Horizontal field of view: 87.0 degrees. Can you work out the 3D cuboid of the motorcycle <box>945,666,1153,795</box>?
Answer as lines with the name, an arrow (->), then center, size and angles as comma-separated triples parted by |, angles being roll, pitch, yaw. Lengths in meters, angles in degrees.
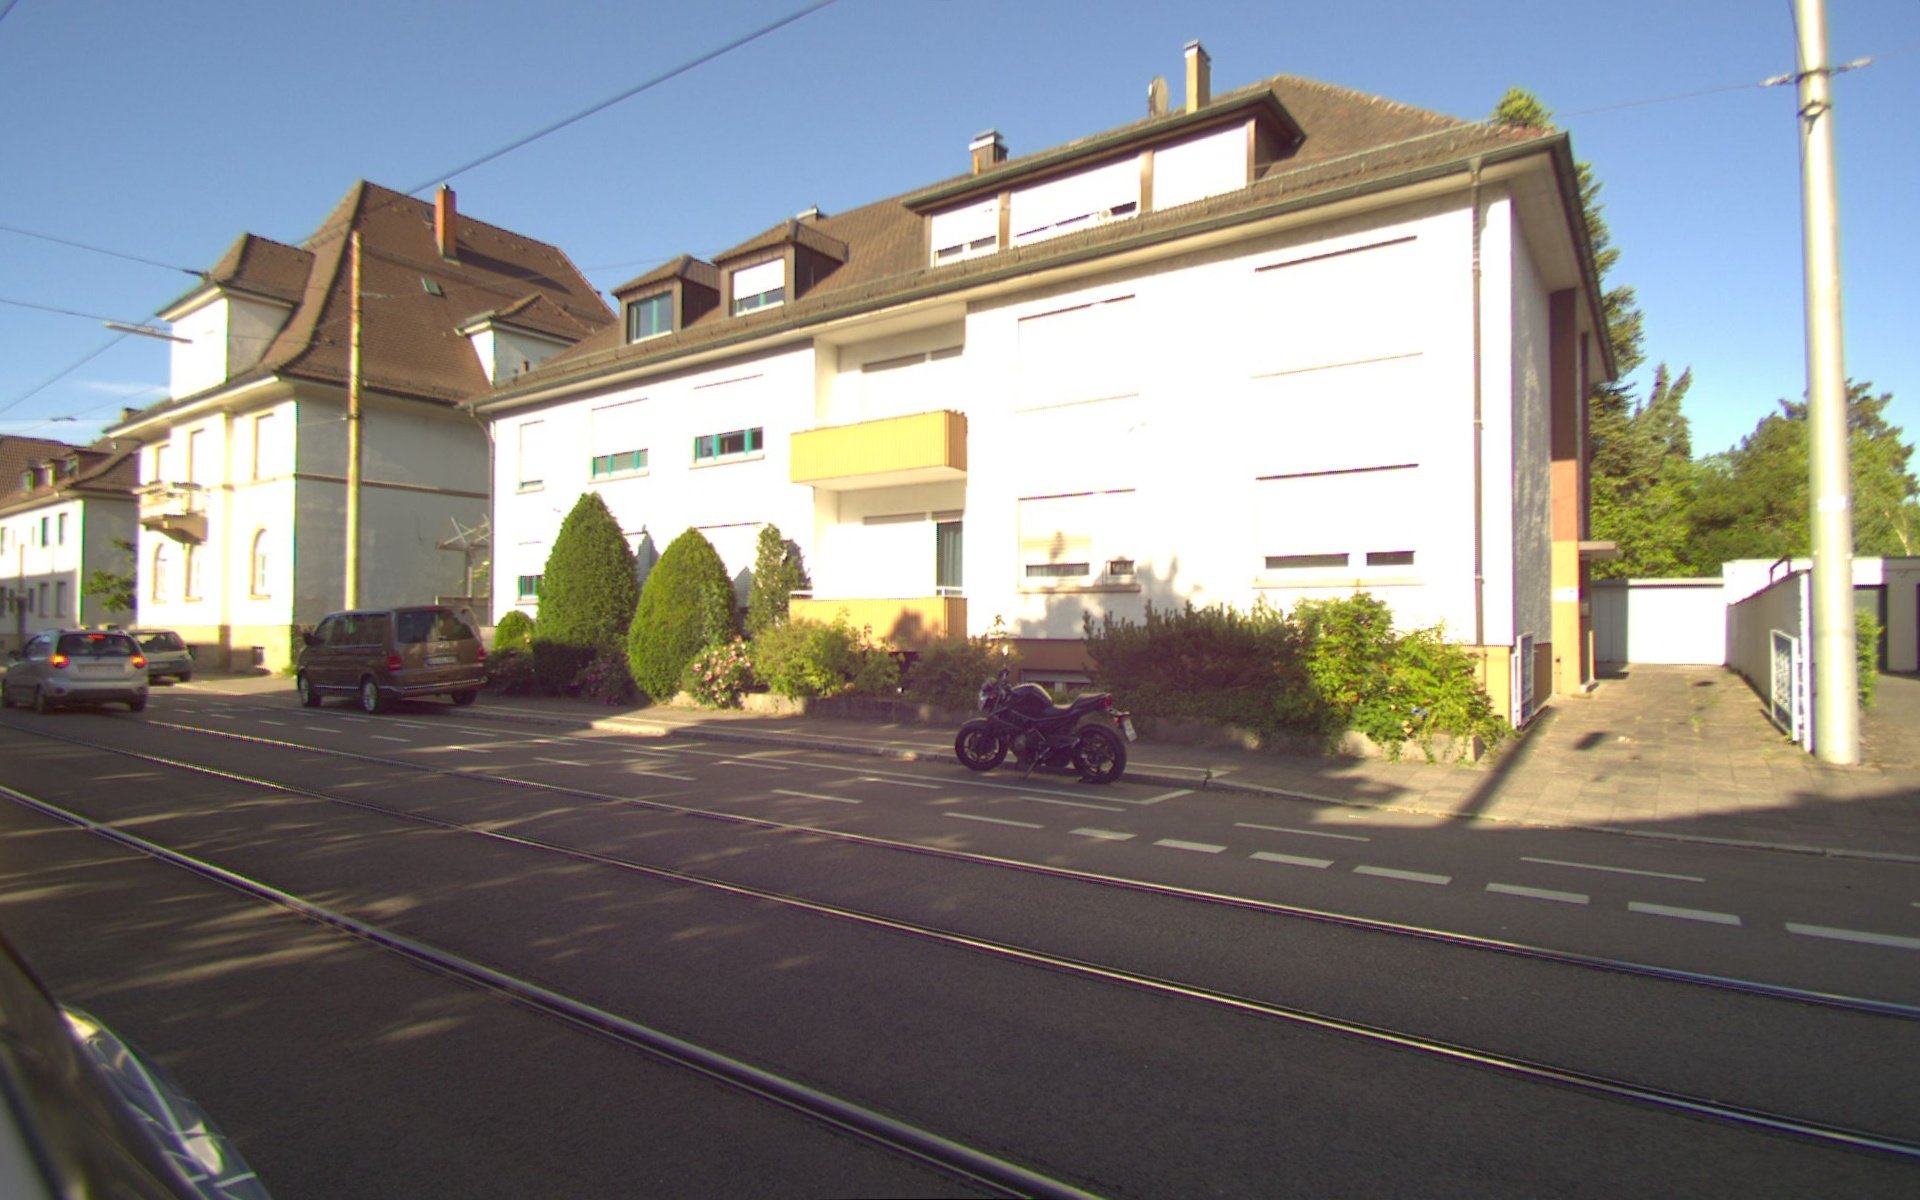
motorcycle -> 0.876, 1.288, 10.434 | 2.167, 1.171, 0.531 | -1, -4, 36

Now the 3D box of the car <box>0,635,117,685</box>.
car -> -28.273, 1.829, 31.700 | 4.236, 1.488, 1.650 | -1, -2, 32

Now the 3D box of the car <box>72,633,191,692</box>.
car -> -22.999, 1.683, 28.066 | 3.827, 1.488, 1.662 | -1, -1, 36

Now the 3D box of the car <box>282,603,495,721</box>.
car -> -11.241, 1.127, 19.771 | 4.942, 2.029, 1.888 | -1, -1, 38

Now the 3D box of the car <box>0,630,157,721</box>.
car -> -16.082, 1.307, 18.285 | 3.434, 1.488, 1.561 | -1, -4, 36
